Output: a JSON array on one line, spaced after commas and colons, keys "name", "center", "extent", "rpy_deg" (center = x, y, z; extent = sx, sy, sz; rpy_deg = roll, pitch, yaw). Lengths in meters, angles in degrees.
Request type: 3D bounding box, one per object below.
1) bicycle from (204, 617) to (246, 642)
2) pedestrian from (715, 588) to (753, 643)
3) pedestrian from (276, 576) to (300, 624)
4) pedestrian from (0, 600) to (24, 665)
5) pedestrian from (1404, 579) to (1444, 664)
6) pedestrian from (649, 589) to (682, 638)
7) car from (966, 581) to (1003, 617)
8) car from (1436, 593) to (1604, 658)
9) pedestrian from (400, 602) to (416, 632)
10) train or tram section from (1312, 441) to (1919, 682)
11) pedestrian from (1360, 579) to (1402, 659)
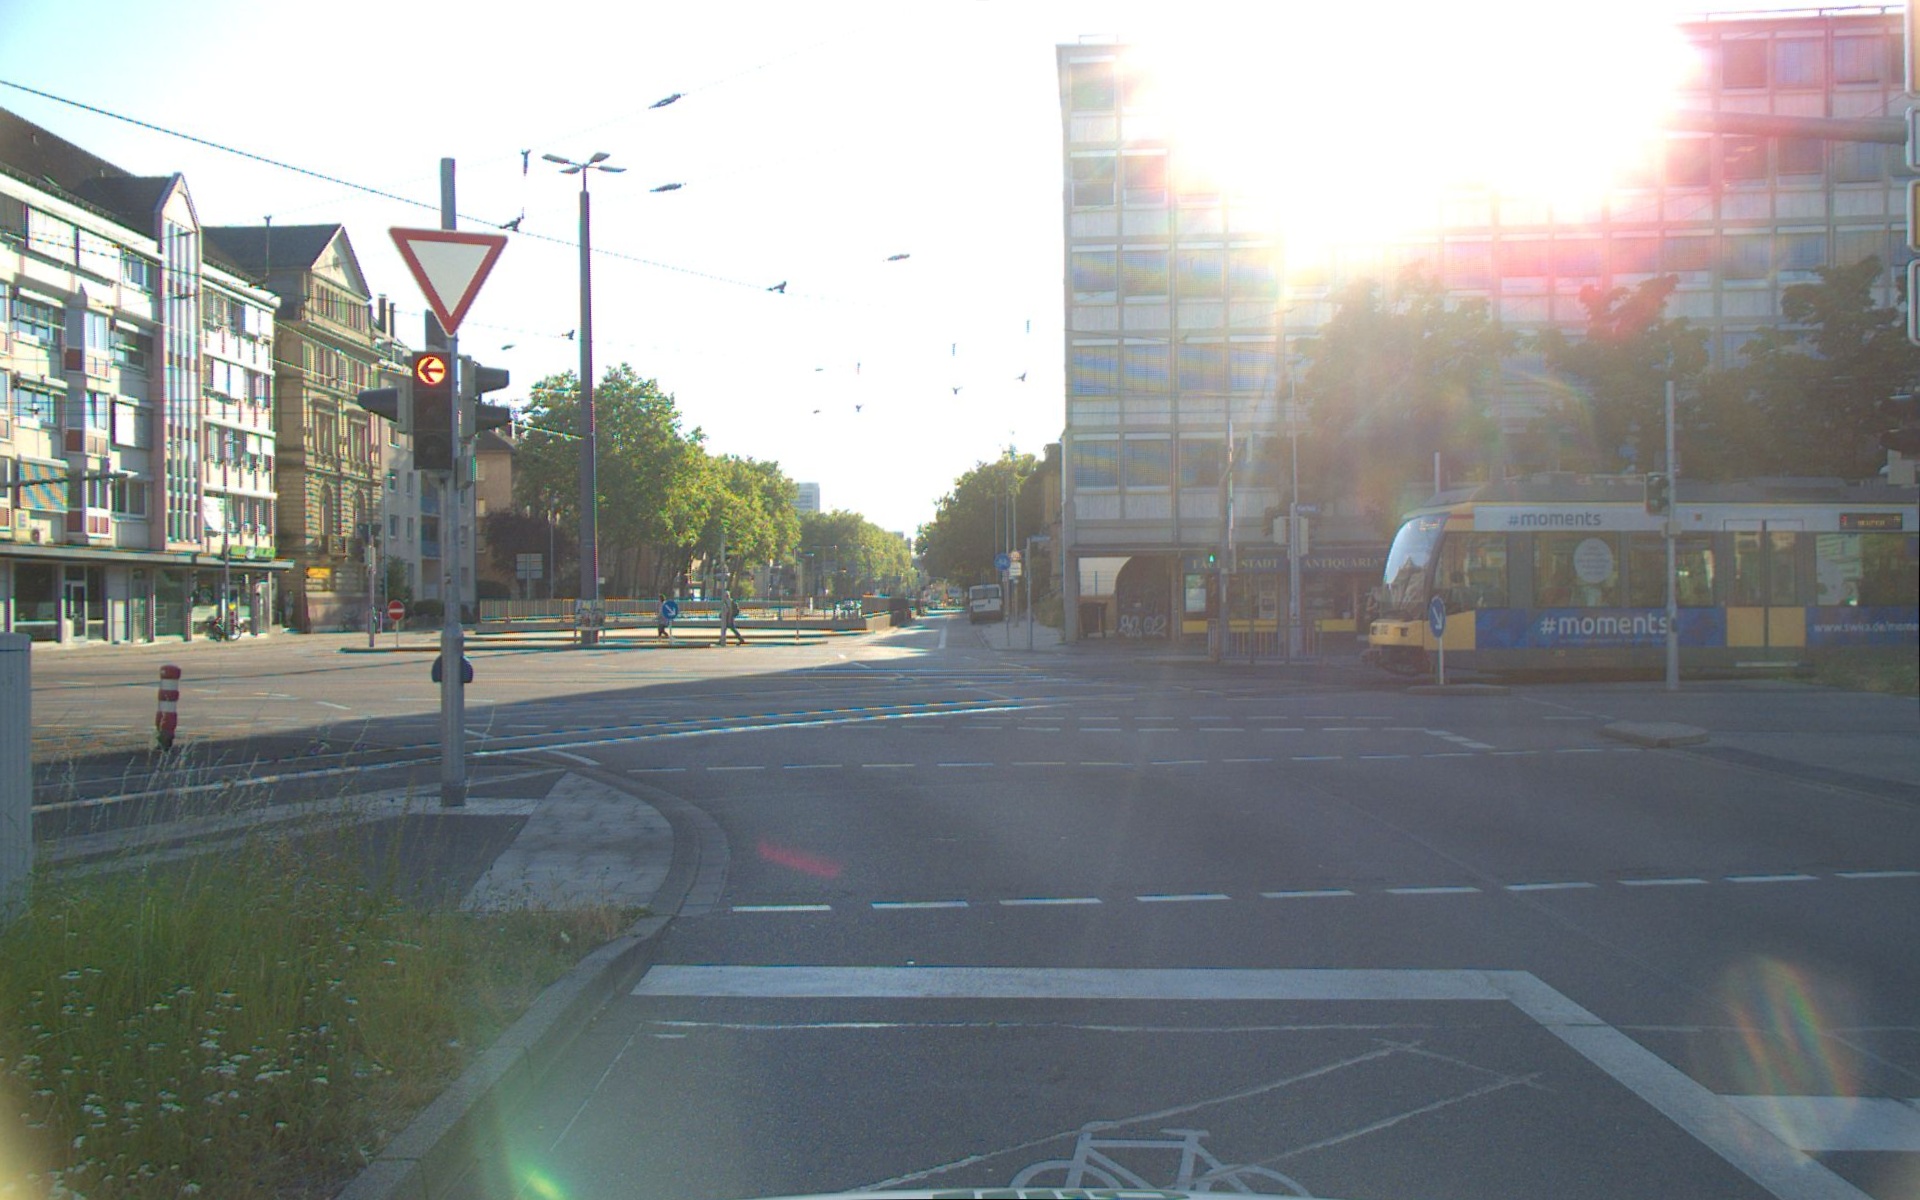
[{"name": "bicycle", "center": [-32.433, 1.296, 73.021], "extent": [0.441, 1.089, 2.093], "rpy_deg": [1, 0, 16]}, {"name": "pedestrian", "center": [-7.378, 0.495, 54.001], "extent": [1.171, 1.761, 0.855], "rpy_deg": [1, -1, -5]}, {"name": "pedestrian", "center": [-34.551, -0.002, 85.060], "extent": [0.910, 2.440, 0.958], "rpy_deg": [1, -1, -11]}, {"name": "pedestrian", "center": [-30.203, 1.003, 51.820], "extent": [1.171, 1.914, 0.857], "rpy_deg": [1, 8, -5]}, {"name": "pedestrian", "center": [10.094, 0.467, 36.003], "extent": [0.680, 1.824, 1.043], "rpy_deg": [1, 0, 8]}, {"name": "pedestrian", "center": [-9.265, 0.431, 52.058], "extent": [0.844, 1.491, 0.679], "rpy_deg": [1, -6, -30]}, {"name": "car", "center": [1.569, -0.051, 103.931], "extent": [2.238, 2.210, 4.834], "rpy_deg": [1, 0, 1]}, {"name": "car", "center": [15.130, 0.681, 44.834], "extent": [3.982, 1.646, 1.845], "rpy_deg": [1, 0, 4]}, {"name": "pedestrian", "center": [-31.965, 0.971, 95.799], "extent": [0.681, 1.725, 0.724], "rpy_deg": [1, -1, -1]}, {"name": "train or tram section", "center": [13.237, -0.678, 29.869], "extent": [13.077, 3.901, 3.706], "rpy_deg": [-1, 0, -11]}, {"name": "pedestrian", "center": [9.218, 0.420, 36.210], "extent": [0.681, 1.712, 1.042], "rpy_deg": [1, 0, 3]}]
